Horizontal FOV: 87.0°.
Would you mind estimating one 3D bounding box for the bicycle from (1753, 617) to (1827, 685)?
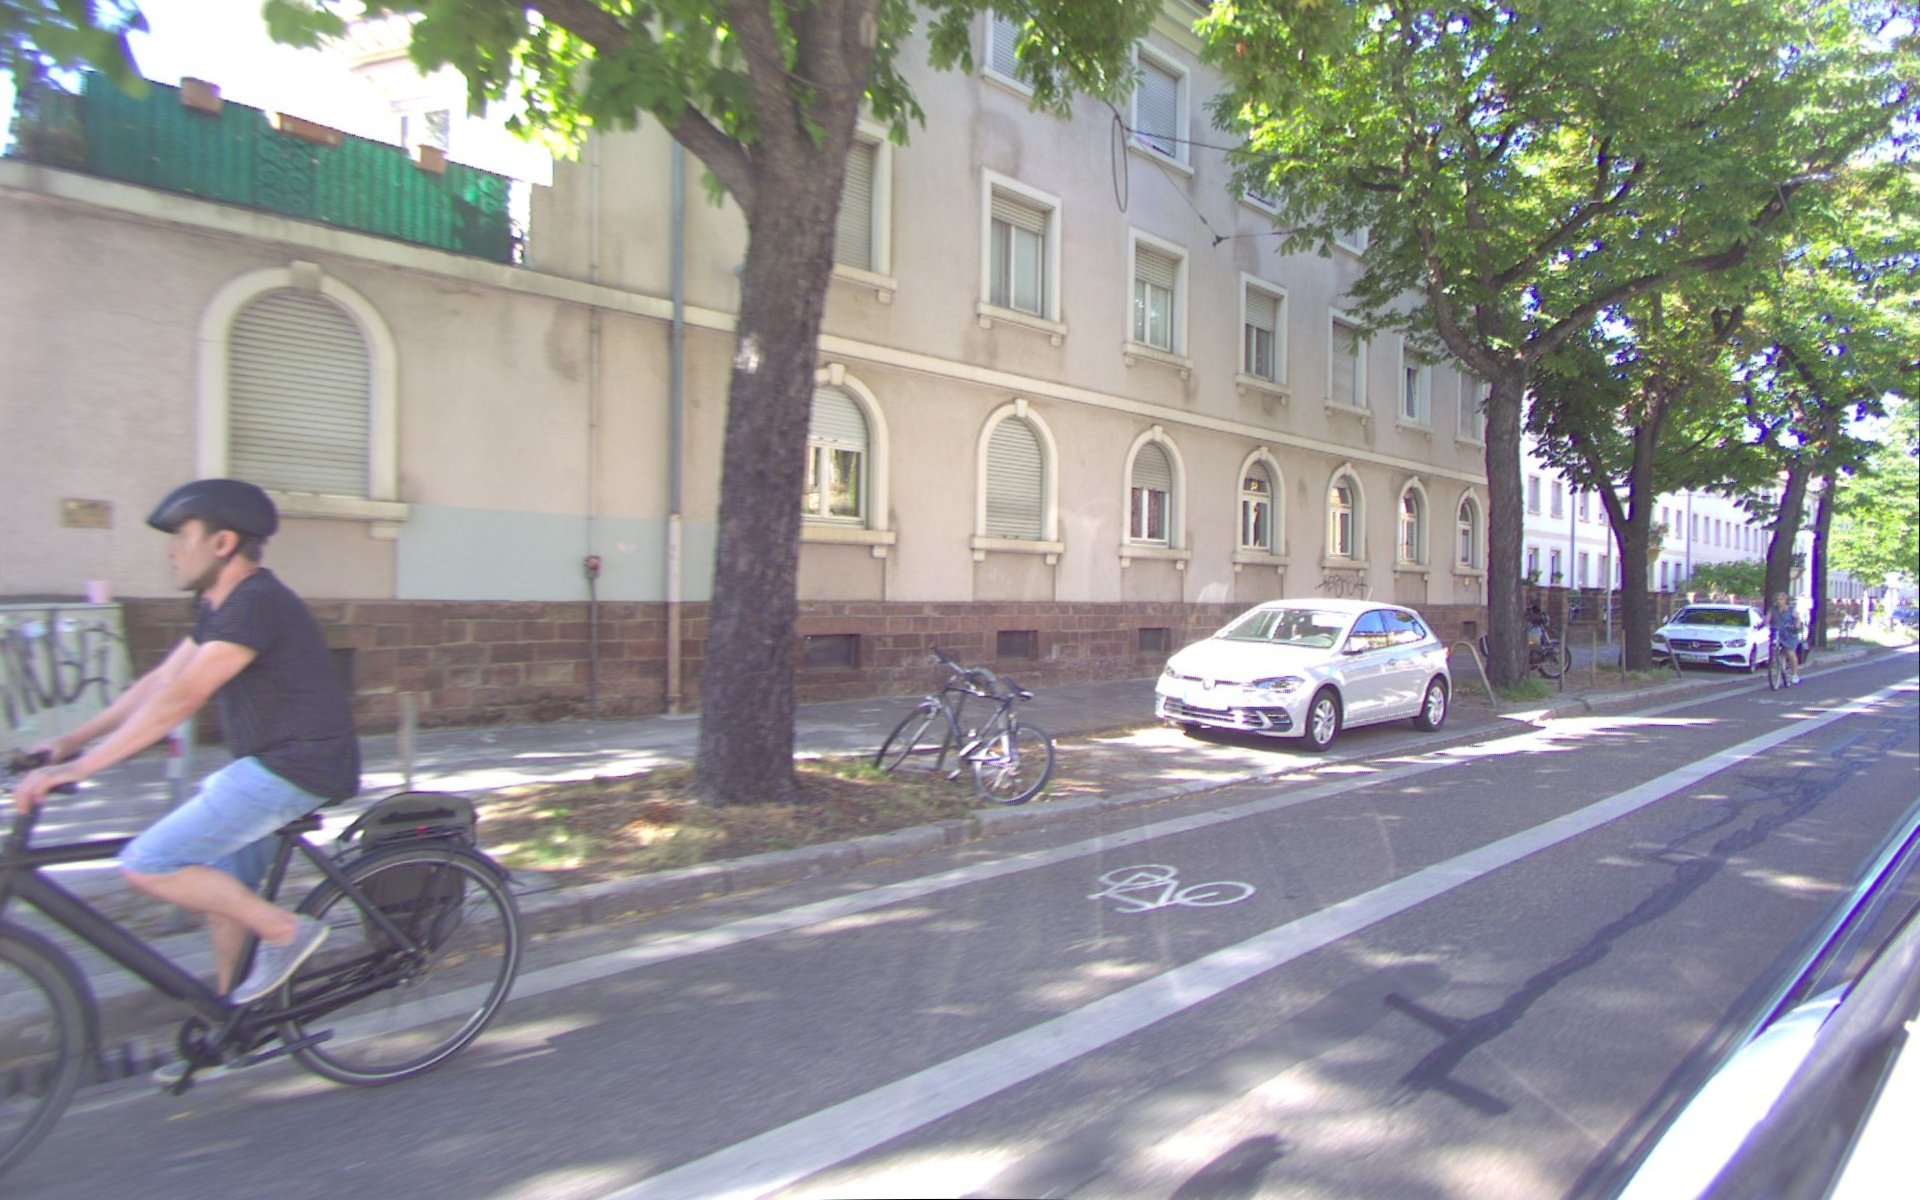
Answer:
[{"bbox_3d":[14.694,0.872,17.901,2.024,1.100,0.775,0,0,-44],"label":"bicycle"}]

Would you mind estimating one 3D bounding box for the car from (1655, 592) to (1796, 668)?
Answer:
[{"bbox_3d":[17.483,0.605,23.021,4.670,1.502,1.821,0,2,-44],"label":"car"}]

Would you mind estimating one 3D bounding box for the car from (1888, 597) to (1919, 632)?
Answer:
[{"bbox_3d":[42.956,0.650,45.325,4.537,1.485,1.758,0,2,-44],"label":"car"}]

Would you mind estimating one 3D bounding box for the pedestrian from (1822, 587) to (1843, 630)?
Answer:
[{"bbox_3d":[42.863,0.410,49.713,0.740,2.039,0.678,1,0,41],"label":"pedestrian"}]

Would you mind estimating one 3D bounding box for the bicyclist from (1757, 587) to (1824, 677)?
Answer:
[{"bbox_3d":[14.698,0.536,17.908,1.209,1.533,0.775,0,0,-44],"label":"bicyclist"}]

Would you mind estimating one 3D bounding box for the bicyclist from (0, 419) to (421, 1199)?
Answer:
[{"bbox_3d":[-2.121,0.483,2.737,1.028,1.761,0.762,0,-1,-41],"label":"bicyclist"}]

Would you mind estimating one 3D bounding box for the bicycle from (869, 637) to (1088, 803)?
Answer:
[{"bbox_3d":[0.106,0.826,7.470,1.564,0.992,0.631,2,1,41],"label":"bicycle"}]

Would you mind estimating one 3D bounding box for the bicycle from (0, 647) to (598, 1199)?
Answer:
[{"bbox_3d":[-2.133,0.799,2.720,2.059,1.258,0.762,0,-1,-41],"label":"bicycle"}]

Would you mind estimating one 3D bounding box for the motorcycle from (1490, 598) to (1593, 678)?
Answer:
[{"bbox_3d":[9.928,0.617,17.246,2.221,1.266,0.763,0,1,-39],"label":"motorcycle"}]

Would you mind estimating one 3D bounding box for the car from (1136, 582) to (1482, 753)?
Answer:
[{"bbox_3d":[3.932,0.595,11.042,4.140,1.490,1.704,0,2,-41],"label":"car"}]

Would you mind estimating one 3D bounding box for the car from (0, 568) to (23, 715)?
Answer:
[{"bbox_3d":[-10.689,0.499,9.168,1.687,1.557,3.447,-3,1,-13],"label":"car"}]
